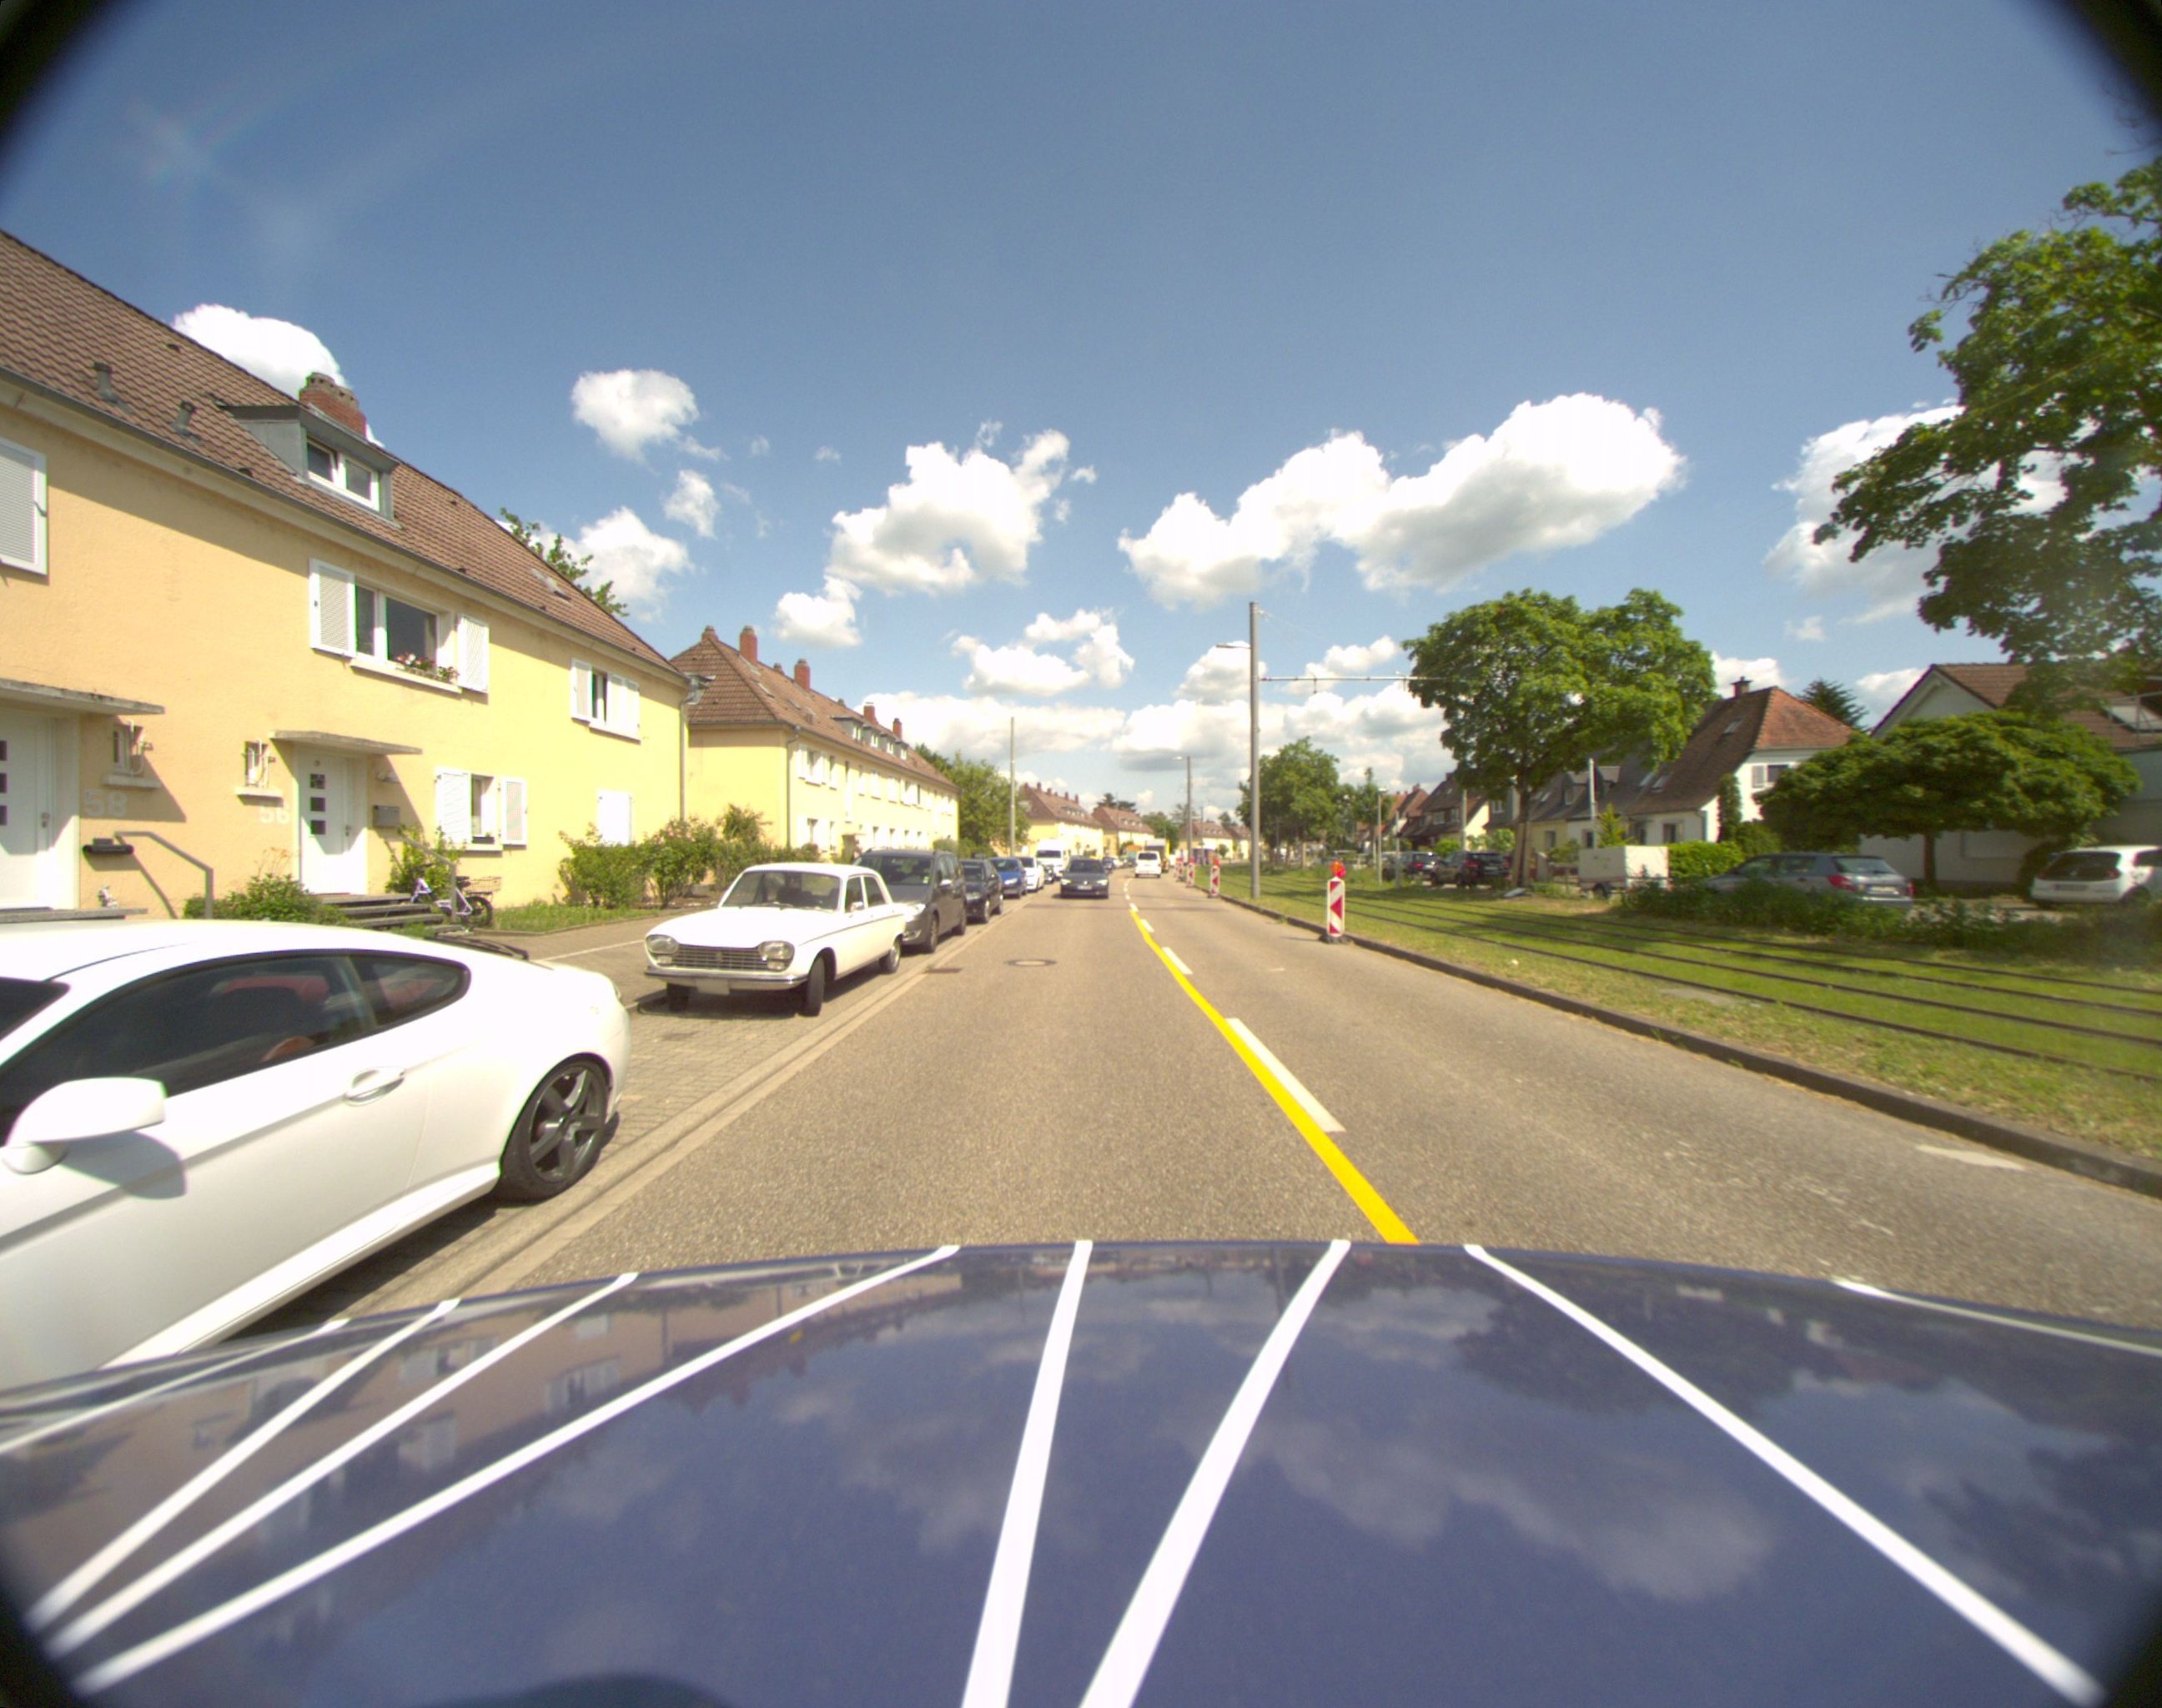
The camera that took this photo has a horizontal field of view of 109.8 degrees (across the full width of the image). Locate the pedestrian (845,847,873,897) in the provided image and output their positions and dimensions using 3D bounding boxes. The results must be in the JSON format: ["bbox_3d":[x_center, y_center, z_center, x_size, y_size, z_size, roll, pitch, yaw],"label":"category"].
[{"bbox_3d":[-7.395,0.577,25.342,0.617,1.629,0.900,1,1,1],"label":"pedestrian"}]

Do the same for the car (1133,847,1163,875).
[{"bbox_3d":[4.939,0.486,56.524,1.944,1.931,4.562,1,0,2],"label":"car"}]

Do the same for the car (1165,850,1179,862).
[{"bbox_3d":[12.057,0.282,100.422,1.512,1.490,3.578,1,1,13],"label":"car"}]

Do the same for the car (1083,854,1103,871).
[{"bbox_3d":[1.110,0.738,70.217,1.513,1.490,3.408,1,1,6],"label":"car"}]

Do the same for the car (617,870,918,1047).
[{"bbox_3d":[-3.168,0.948,8.629,1.653,1.410,4.026,1,0,2],"label":"car"}]

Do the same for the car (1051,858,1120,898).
[{"bbox_3d":[0.261,0.890,28.986,1.784,1.412,4.295,0,-1,13],"label":"car"}]

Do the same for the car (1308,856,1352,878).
[{"bbox_3d":[18.288,0.933,56.021,1.998,1.531,4.323,1,1,4],"label":"car"}]

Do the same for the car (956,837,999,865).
[{"bbox_3d":[-6.677,-0.166,49.405,1.926,1.736,4.048,1,0,4],"label":"car"}]

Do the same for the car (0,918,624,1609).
[{"bbox_3d":[-3.222,0.997,1.836,1.725,1.287,4.128,1,0,0],"label":"car"}]

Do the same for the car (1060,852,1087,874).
[{"bbox_3d":[-0.526,0.599,54.789,1.513,1.490,3.408,1,1,6],"label":"car"}]

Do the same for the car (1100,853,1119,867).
[{"bbox_3d":[3.137,0.607,82.606,1.512,1.490,3.577,1,1,10],"label":"car"}]

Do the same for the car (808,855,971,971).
[{"bbox_3d":[-3.071,0.853,13.075,1.683,1.621,4.270,1,0,0],"label":"car"}]

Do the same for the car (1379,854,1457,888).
[{"bbox_3d":[16.431,0.787,37.301,1.998,1.531,4.322,1,1,2],"label":"car"}]

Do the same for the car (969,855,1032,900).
[{"bbox_3d":[-2.829,0.786,27.503,1.701,1.421,3.898,2,1,2],"label":"car"}]

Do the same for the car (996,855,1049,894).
[{"bbox_3d":[-2.416,0.833,32.449,1.756,1.480,4.627,1,0,1],"label":"car"}]

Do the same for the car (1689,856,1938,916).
[{"bbox_3d":[15.837,0.631,16.753,1.785,1.087,3.836,1,1,1],"label":"car"}]

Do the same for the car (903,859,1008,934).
[{"bbox_3d":[-2.859,0.902,18.262,1.689,1.429,4.515,1,1,1],"label":"car"}]

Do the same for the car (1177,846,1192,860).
[{"bbox_3d":[15.603,-0.181,114.365,1.839,2.043,3.872,1,1,13],"label":"car"}]

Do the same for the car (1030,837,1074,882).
[{"bbox_3d":[-1.660,0.323,45.733,1.923,2.522,5.346,1,0,5],"label":"car"}]

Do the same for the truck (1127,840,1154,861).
[{"bbox_3d":[8.769,-0.494,110.466,2.529,2.931,7.869,1,1,14],"label":"truck"}]

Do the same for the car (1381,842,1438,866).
[{"bbox_3d":[27.960,-0.015,64.784,3.995,2.002,2.001,1,1,6],"label":"car"}]

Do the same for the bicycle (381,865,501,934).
[{"bbox_3d":[-10.432,0.731,12.401,1.693,1.096,0.290,0,1,1],"label":"bicycle"}]

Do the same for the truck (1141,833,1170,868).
[{"bbox_3d":[7.621,-0.304,77.641,2.701,3.346,8.053,1,0,6],"label":"truck"}]

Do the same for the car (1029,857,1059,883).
[{"bbox_3d":[-1.951,0.841,41.018,1.358,1.299,3.543,1,1,2],"label":"car"}]

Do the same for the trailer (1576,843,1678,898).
[{"bbox_3d":[15.740,0.448,22.004,1.302,1.510,2.282,1,1,1],"label":"trailer"}]

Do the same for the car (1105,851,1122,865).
[{"bbox_3d":[3.772,0.477,87.255,1.512,1.490,3.577,1,1,10],"label":"car"}]

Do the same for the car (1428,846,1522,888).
[{"bbox_3d":[16.545,0.539,32.162,1.910,1.568,4.102,3,-1,2],"label":"car"}]

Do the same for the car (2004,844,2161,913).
[{"bbox_3d":[25.058,0.598,17.972,3.997,1.518,2.001,1,-2,1],"label":"car"}]
